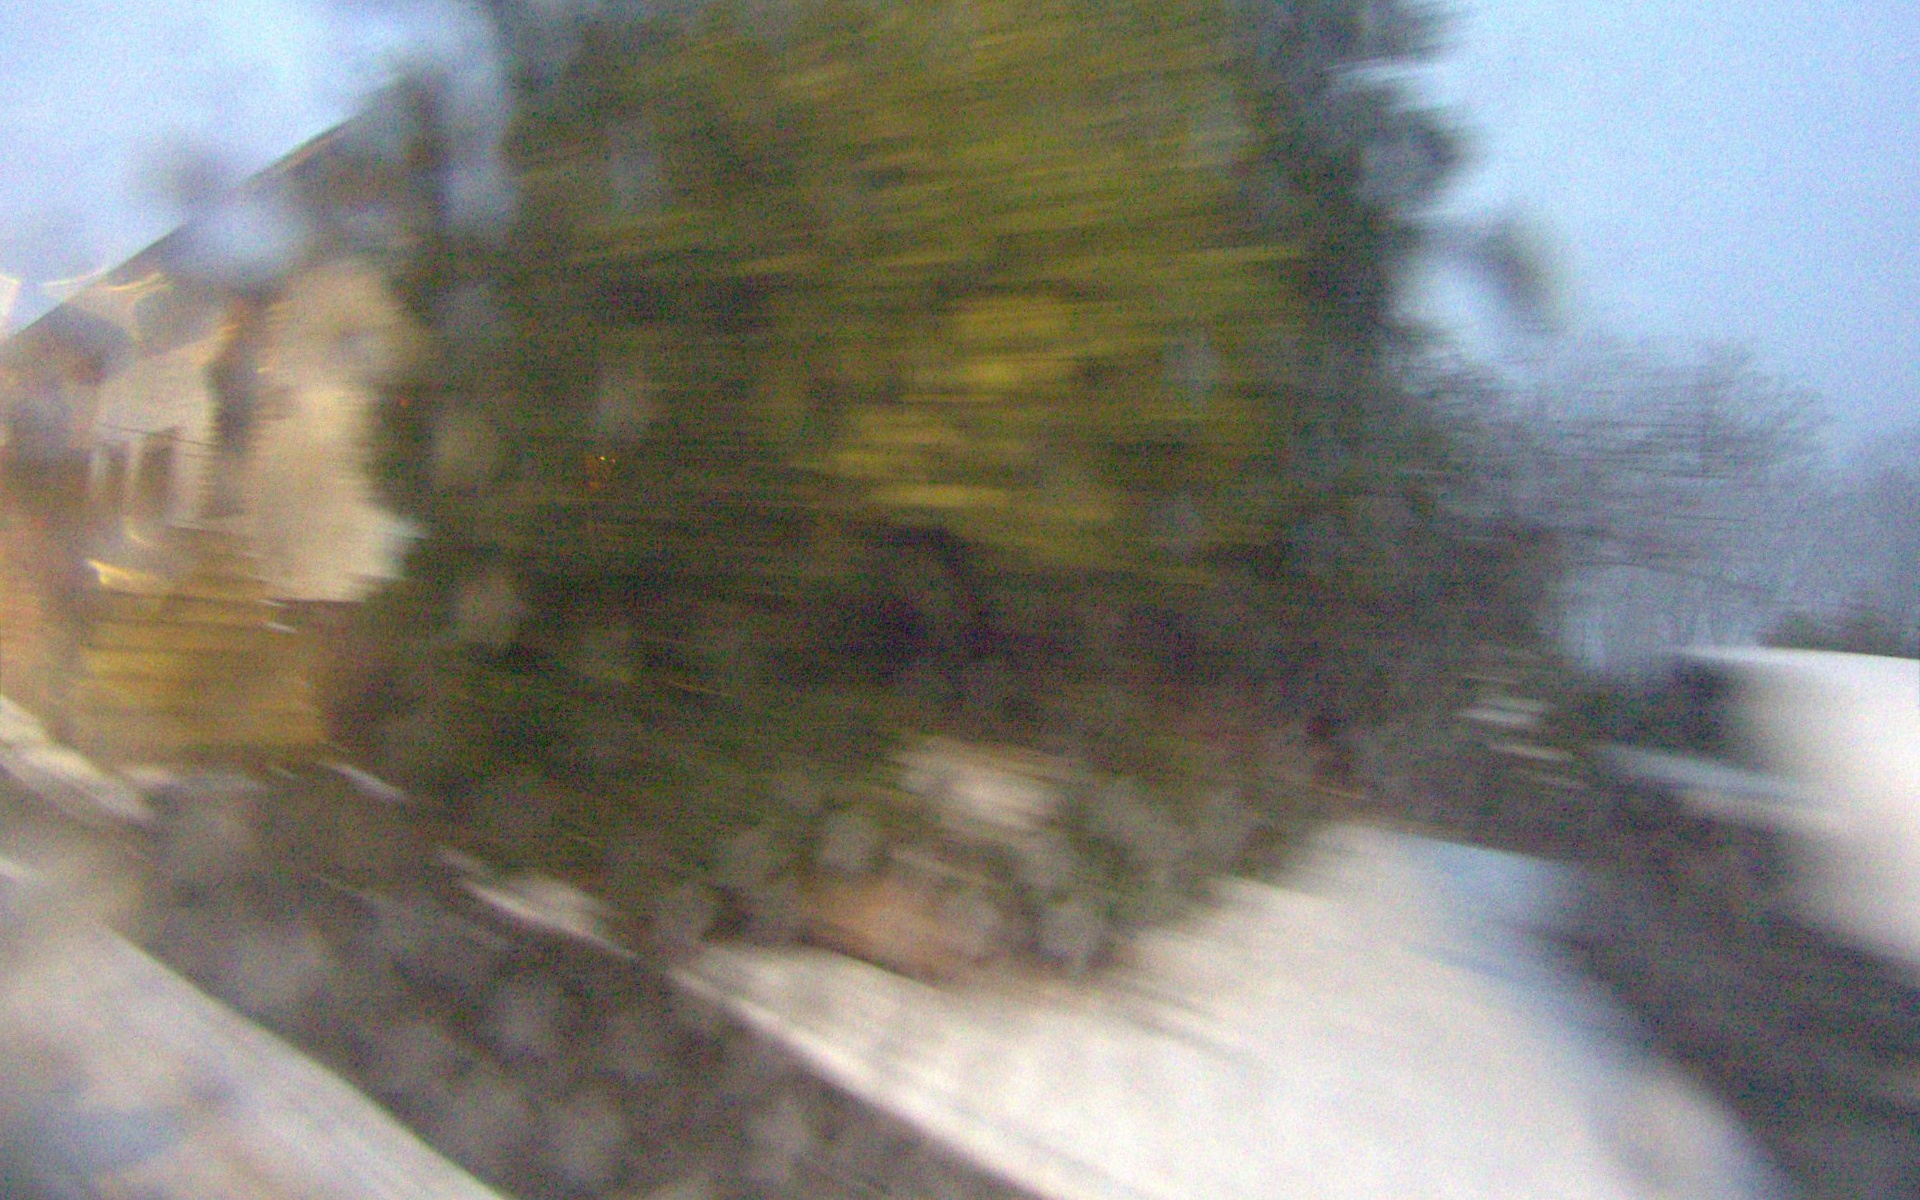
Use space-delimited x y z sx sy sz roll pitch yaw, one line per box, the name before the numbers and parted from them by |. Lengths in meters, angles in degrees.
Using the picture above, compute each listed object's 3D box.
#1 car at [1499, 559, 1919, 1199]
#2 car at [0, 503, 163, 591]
car | 3.325 0.805 3.383 1.810 1.713 3.996 4 2 17
car | -17.287 -1.010 18.804 1.616 1.404 3.434 3 -1 39
